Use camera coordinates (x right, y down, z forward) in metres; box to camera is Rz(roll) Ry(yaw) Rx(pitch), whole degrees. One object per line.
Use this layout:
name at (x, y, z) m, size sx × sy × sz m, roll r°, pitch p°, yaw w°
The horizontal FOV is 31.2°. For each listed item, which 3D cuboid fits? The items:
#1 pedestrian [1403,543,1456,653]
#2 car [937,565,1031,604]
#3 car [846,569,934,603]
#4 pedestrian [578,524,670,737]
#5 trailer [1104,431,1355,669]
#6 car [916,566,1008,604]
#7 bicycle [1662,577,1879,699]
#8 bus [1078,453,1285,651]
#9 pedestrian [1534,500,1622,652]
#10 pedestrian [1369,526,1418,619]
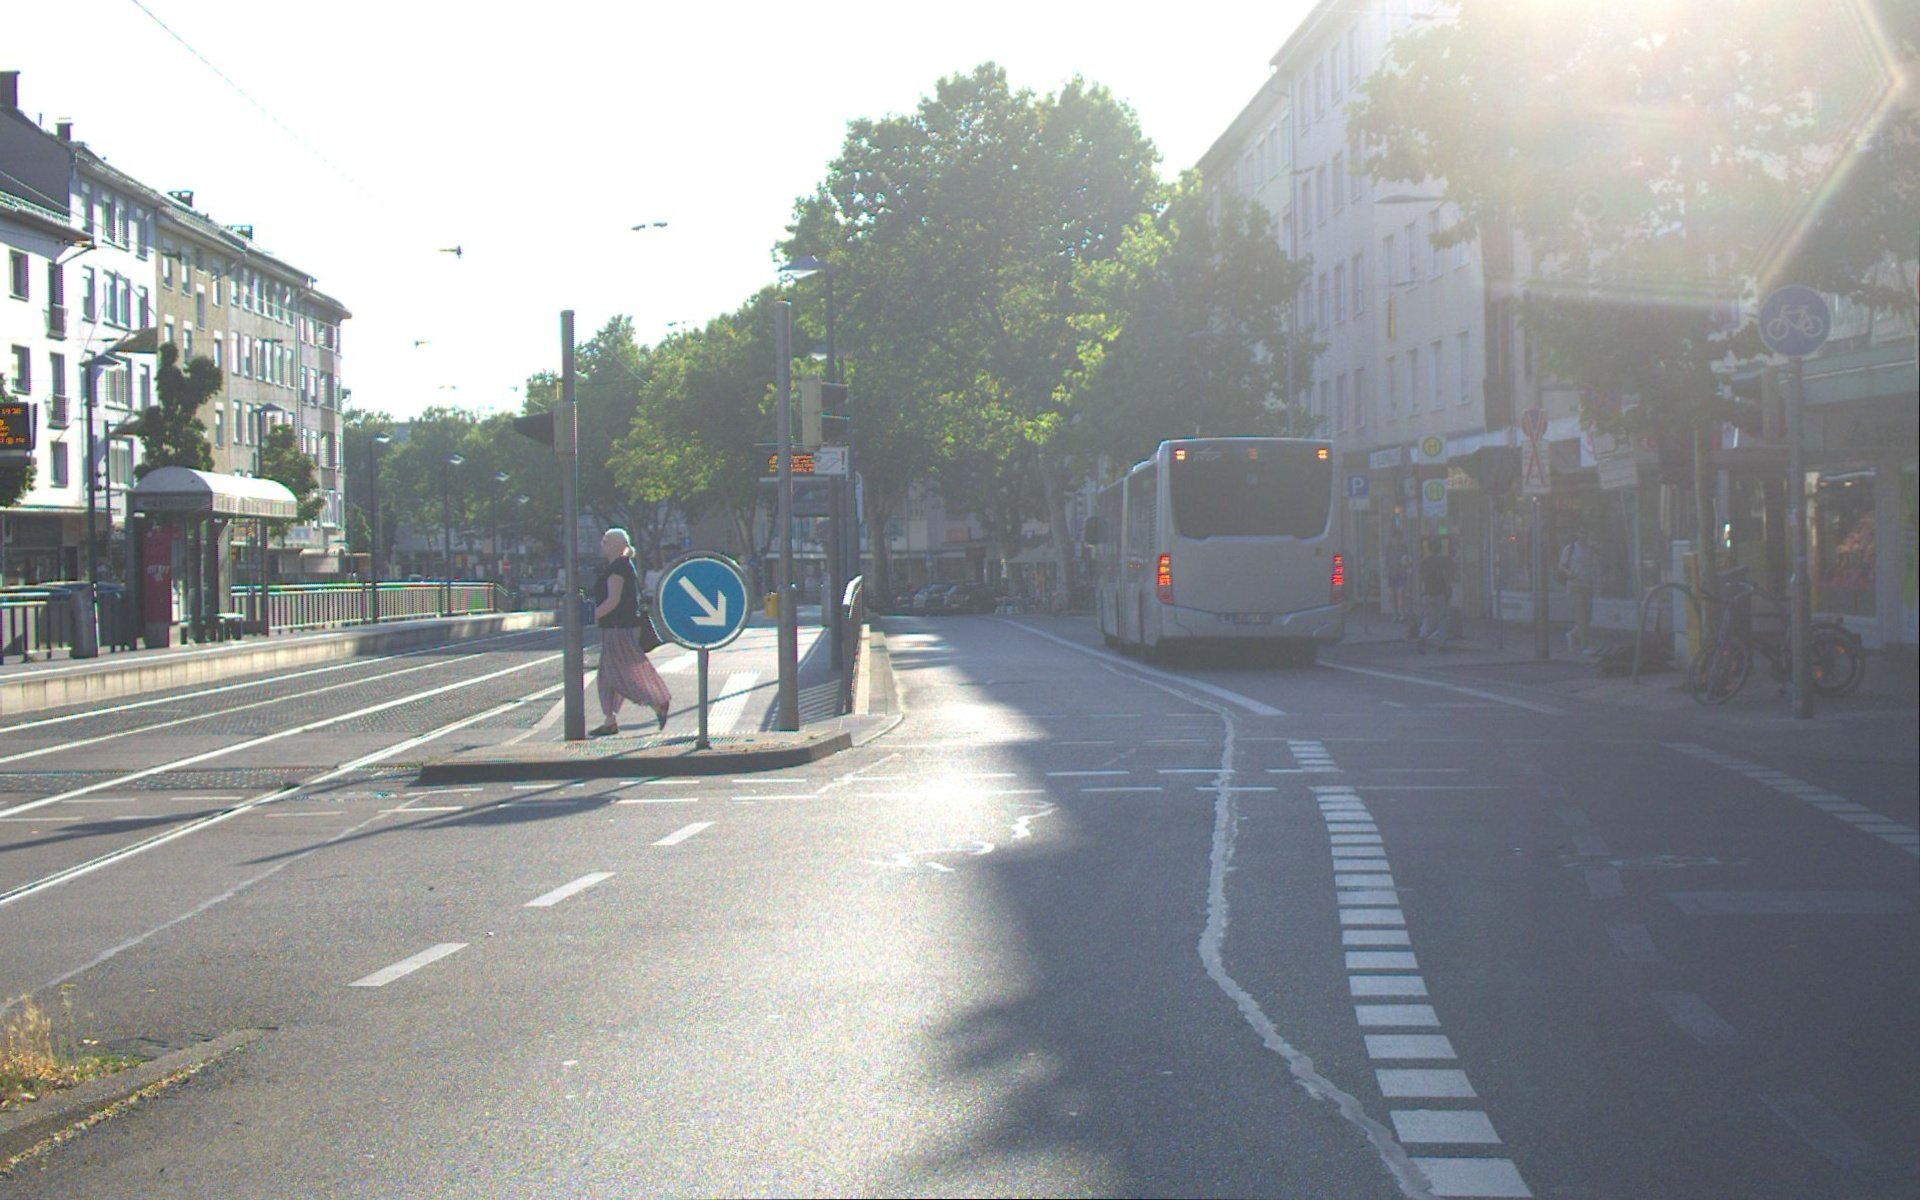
pedestrian at (7.019, -0.037, 51.390) m, size 0.676 × 1.622 × 0.655 m, roll 1°, pitch 1°, yaw 0°
car at (1.111, -0.712, 158.701) m, size 3.889 × 1.693 × 1.833 m, roll -2°, pitch 1°, yaw -29°
car at (-3.390, -0.684, 166.345) m, size 3.889 × 1.591 × 1.691 m, roll -2°, pitch 1°, yaw -29°
pedestrian at (-2.833, 0.246, 29.021) m, size 0.680 × 1.764 × 0.687 m, roll -1°, pitch 1°, yaw 0°
trailer at (3.763, -0.715, 50.013) m, size 2.812 × 3.100 × 8.795 m, roll 1°, pitch 1°, yaw -1°
car at (0.091, -0.699, 161.304) m, size 3.889 × 1.693 × 1.833 m, roll -2°, pitch 1°, yaw -29°
bicycle at (7.376, 0.337, 31.323) m, size 1.772 × 1.018 × 0.694 m, roll -2°, pitch 1°, yaw -1°
bus at (3.656, -0.814, 58.960) m, size 2.812 × 3.091 × 9.095 m, roll 1°, pitch 1°, yaw -1°
pedestrian at (8.280, -0.327, 46.089) m, size 0.953 × 2.007 × 0.917 m, roll 1°, pitch 1°, yaw -2°
pedestrian at (8.836, -0.571, 70.131) m, size 0.859 × 1.876 × 0.898 m, roll -1°, pitch 1°, yaw 1°
